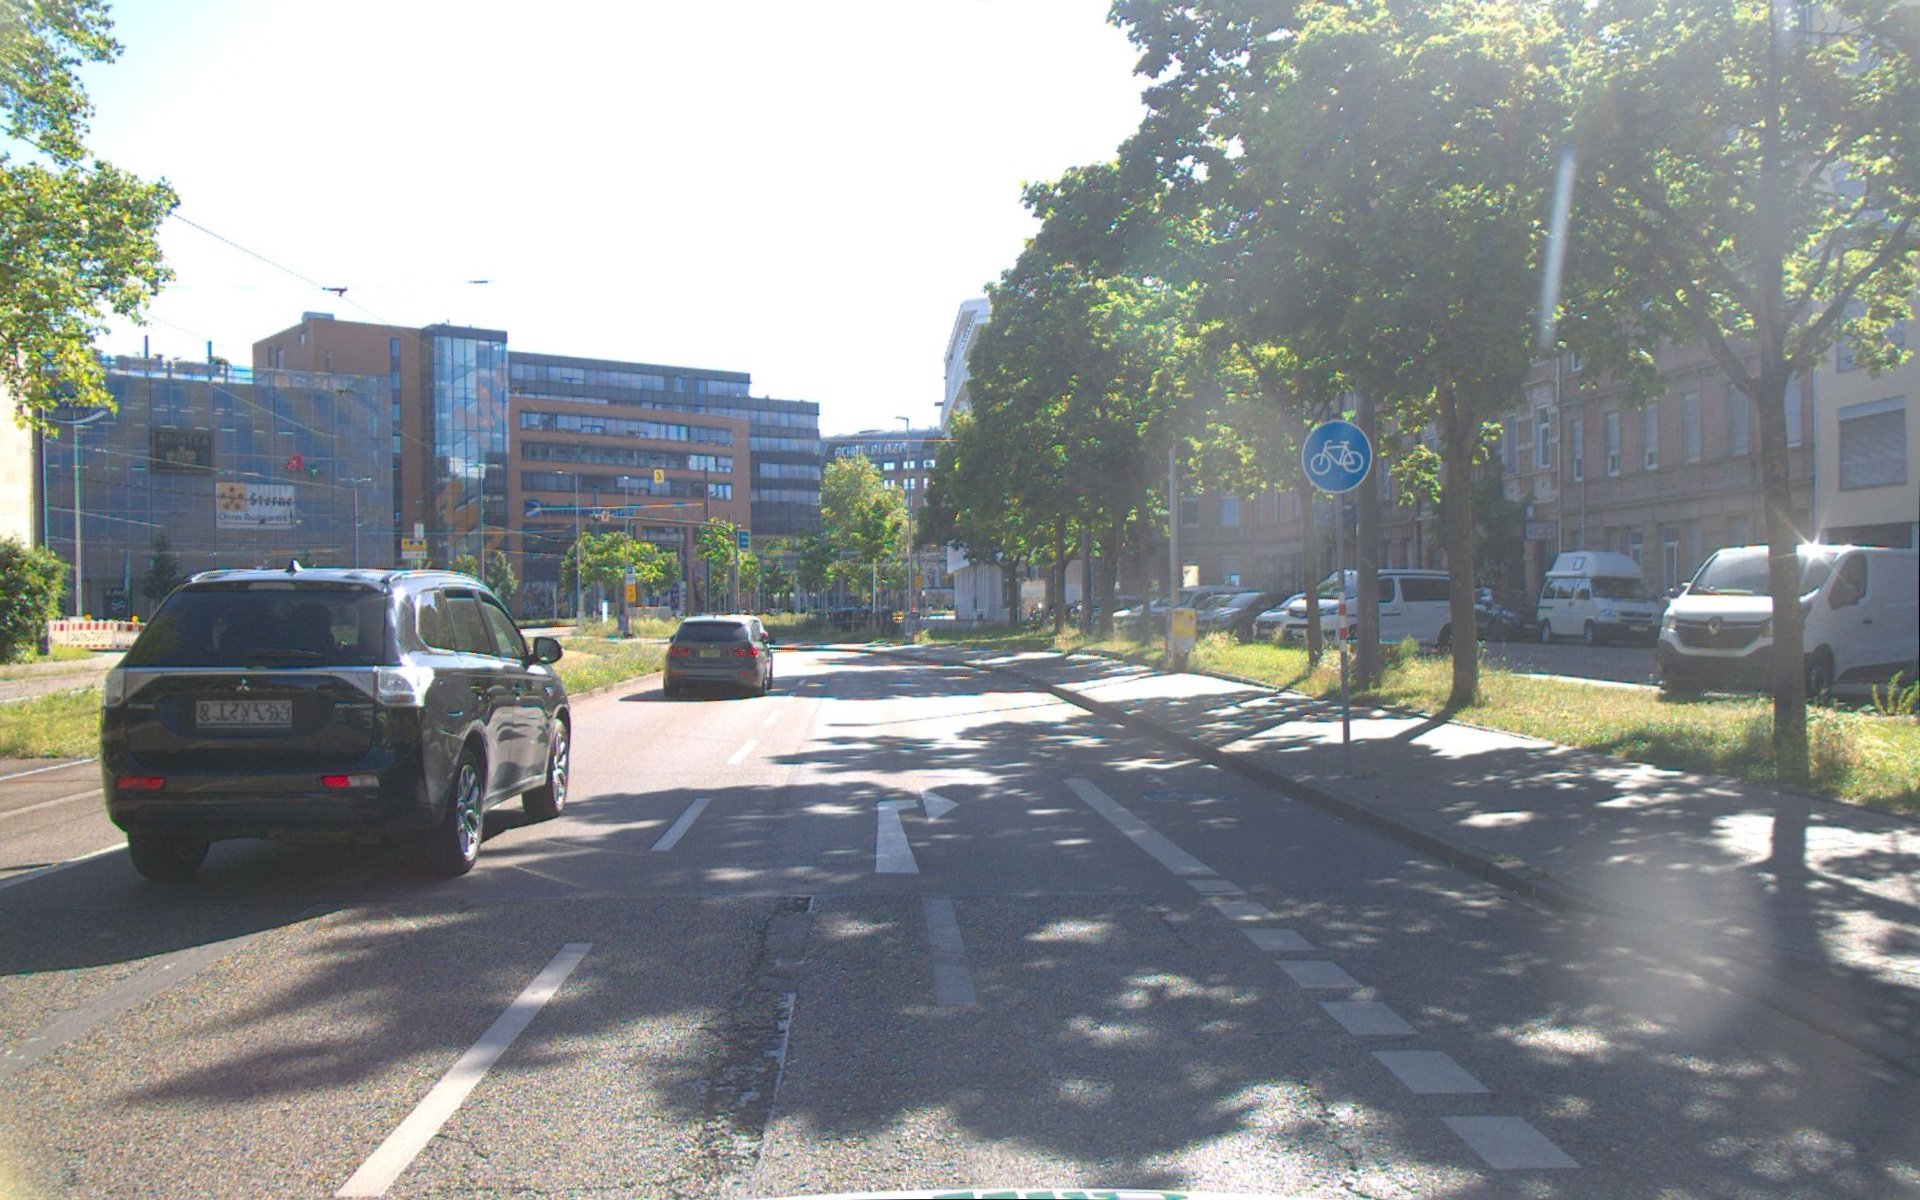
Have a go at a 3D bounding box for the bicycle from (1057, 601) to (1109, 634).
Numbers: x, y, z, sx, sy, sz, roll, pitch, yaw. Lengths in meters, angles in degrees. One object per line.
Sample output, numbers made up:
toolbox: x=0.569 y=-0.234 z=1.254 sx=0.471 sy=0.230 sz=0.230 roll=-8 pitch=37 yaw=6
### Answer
bicycle: x=4.946 y=0.709 z=66.541 sx=1.906 sy=1.201 sz=0.899 roll=-3 pitch=-1 yaw=-5

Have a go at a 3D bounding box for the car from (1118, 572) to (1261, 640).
car: x=8.011 y=0.199 z=57.549 sx=4.831 sy=2.048 sz=2.072 roll=-3 pitch=0 yaw=-38

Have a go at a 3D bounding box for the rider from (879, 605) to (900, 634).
rider: x=-3.106 y=0.847 z=72.872 sx=0.491 sy=1.196 sz=1.677 roll=-1 pitch=1 yaw=13

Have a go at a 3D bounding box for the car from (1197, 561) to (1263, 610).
car: x=14.224 y=-0.775 z=87.508 sx=2.302 sy=2.398 sz=5.185 roll=-3 pitch=1 yaw=-3

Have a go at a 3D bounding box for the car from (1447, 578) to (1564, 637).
car: x=17.007 y=0.229 z=51.795 sx=1.954 sy=1.721 sz=4.510 roll=-1 pitch=0 yaw=-3

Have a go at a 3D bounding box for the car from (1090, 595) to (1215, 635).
car: x=7.418 y=0.556 z=63.483 sx=4.703 sy=1.404 sz=2.018 roll=-1 pitch=0 yaw=-38

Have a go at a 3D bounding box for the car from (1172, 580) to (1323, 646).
car: x=8.959 y=0.404 z=51.463 sx=4.459 sy=1.757 sz=1.977 roll=-3 pitch=0 yaw=-34

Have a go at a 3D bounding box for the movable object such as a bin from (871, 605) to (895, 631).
movable object such as a bin: x=-4.261 y=0.995 z=91.851 sx=1.007 sy=1.423 sz=1.091 roll=-1 pitch=0 yaw=16

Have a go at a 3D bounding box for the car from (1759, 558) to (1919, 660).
car: x=18.116 y=0.124 z=32.865 sx=1.954 sy=1.831 sz=4.622 roll=-3 pitch=1 yaw=-4

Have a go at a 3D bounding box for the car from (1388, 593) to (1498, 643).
car: x=16.584 y=0.590 z=57.017 sx=1.956 sy=1.555 sz=4.505 roll=-3 pitch=1 yaw=-7

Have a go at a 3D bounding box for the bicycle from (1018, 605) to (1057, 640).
bicycle: x=3.120 y=0.899 z=66.507 sx=0.754 sy=1.312 sz=1.592 roll=-2 pitch=0 yaw=36

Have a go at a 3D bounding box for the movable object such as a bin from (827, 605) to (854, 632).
movable object such as a bin: x=-6.649 y=1.025 z=92.092 sx=1.046 sy=1.423 sz=1.305 roll=-1 pitch=0 yaw=16

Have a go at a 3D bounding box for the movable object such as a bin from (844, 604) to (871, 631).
movable object such as a bin: x=-5.658 y=0.978 z=91.744 sx=1.084 sy=1.423 sz=1.322 roll=-1 pitch=0 yaw=16

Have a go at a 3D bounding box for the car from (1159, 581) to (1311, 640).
car: x=9.184 y=0.337 z=55.091 sx=4.822 sy=1.676 sz=2.076 roll=-3 pitch=0 yaw=-34

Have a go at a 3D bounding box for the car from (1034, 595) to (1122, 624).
car: x=5.816 y=0.462 z=81.552 sx=3.996 sy=1.360 sz=1.823 roll=-1 pitch=0 yaw=-28

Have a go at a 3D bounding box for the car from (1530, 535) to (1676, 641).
car: x=17.442 y=-0.336 z=45.113 sx=1.954 sy=2.630 sz=4.511 roll=-3 pitch=1 yaw=-2

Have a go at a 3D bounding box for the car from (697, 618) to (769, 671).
car: x=-6.636 y=1.309 z=48.122 sx=1.605 sy=1.448 sz=3.766 roll=1 pitch=-2 yaw=-15

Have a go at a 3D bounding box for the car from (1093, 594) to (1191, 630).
car: x=8.564 y=0.554 z=77.661 sx=4.420 sy=1.593 sz=1.914 roll=-1 pitch=0 yaw=-36

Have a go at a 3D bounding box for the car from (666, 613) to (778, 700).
car: x=-4.287 y=1.043 z=30.306 sx=1.700 sy=1.448 sz=4.463 roll=1 pitch=-2 yaw=-4

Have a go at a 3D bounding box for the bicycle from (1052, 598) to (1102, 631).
bicycle: x=5.101 y=0.632 z=72.146 sx=2.058 sy=1.423 sz=0.784 roll=-1 pitch=-1 yaw=-15

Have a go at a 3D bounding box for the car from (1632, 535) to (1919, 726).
car: x=10.932 y=0.302 z=21.435 sx=4.833 sy=2.111 sz=1.993 roll=-3 pitch=1 yaw=-39

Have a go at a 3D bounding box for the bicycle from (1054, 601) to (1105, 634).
bicycle: x=4.877 y=0.716 z=67.462 sx=1.919 sy=1.212 sz=0.841 roll=-3 pitch=0 yaw=-5

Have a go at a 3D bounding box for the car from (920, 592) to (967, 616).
car: x=-1.474 y=0.361 z=148.508 sx=3.902 sy=2.049 sz=2.002 roll=-1 pitch=-1 yaw=12

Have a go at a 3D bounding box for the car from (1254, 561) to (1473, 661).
car: x=9.606 y=0.237 z=39.217 sx=5.125 sy=2.048 sz=2.076 roll=-3 pitch=0 yaw=-34

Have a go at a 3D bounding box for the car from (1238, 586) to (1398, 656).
car: x=9.075 y=0.518 z=41.804 sx=3.989 sy=1.504 sz=1.789 roll=-3 pitch=0 yaw=-38

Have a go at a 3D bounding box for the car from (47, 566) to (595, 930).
car: x=-3.553 y=0.725 z=10.211 sx=1.799 sy=1.712 sz=4.639 roll=0 pitch=-1 yaw=-3
